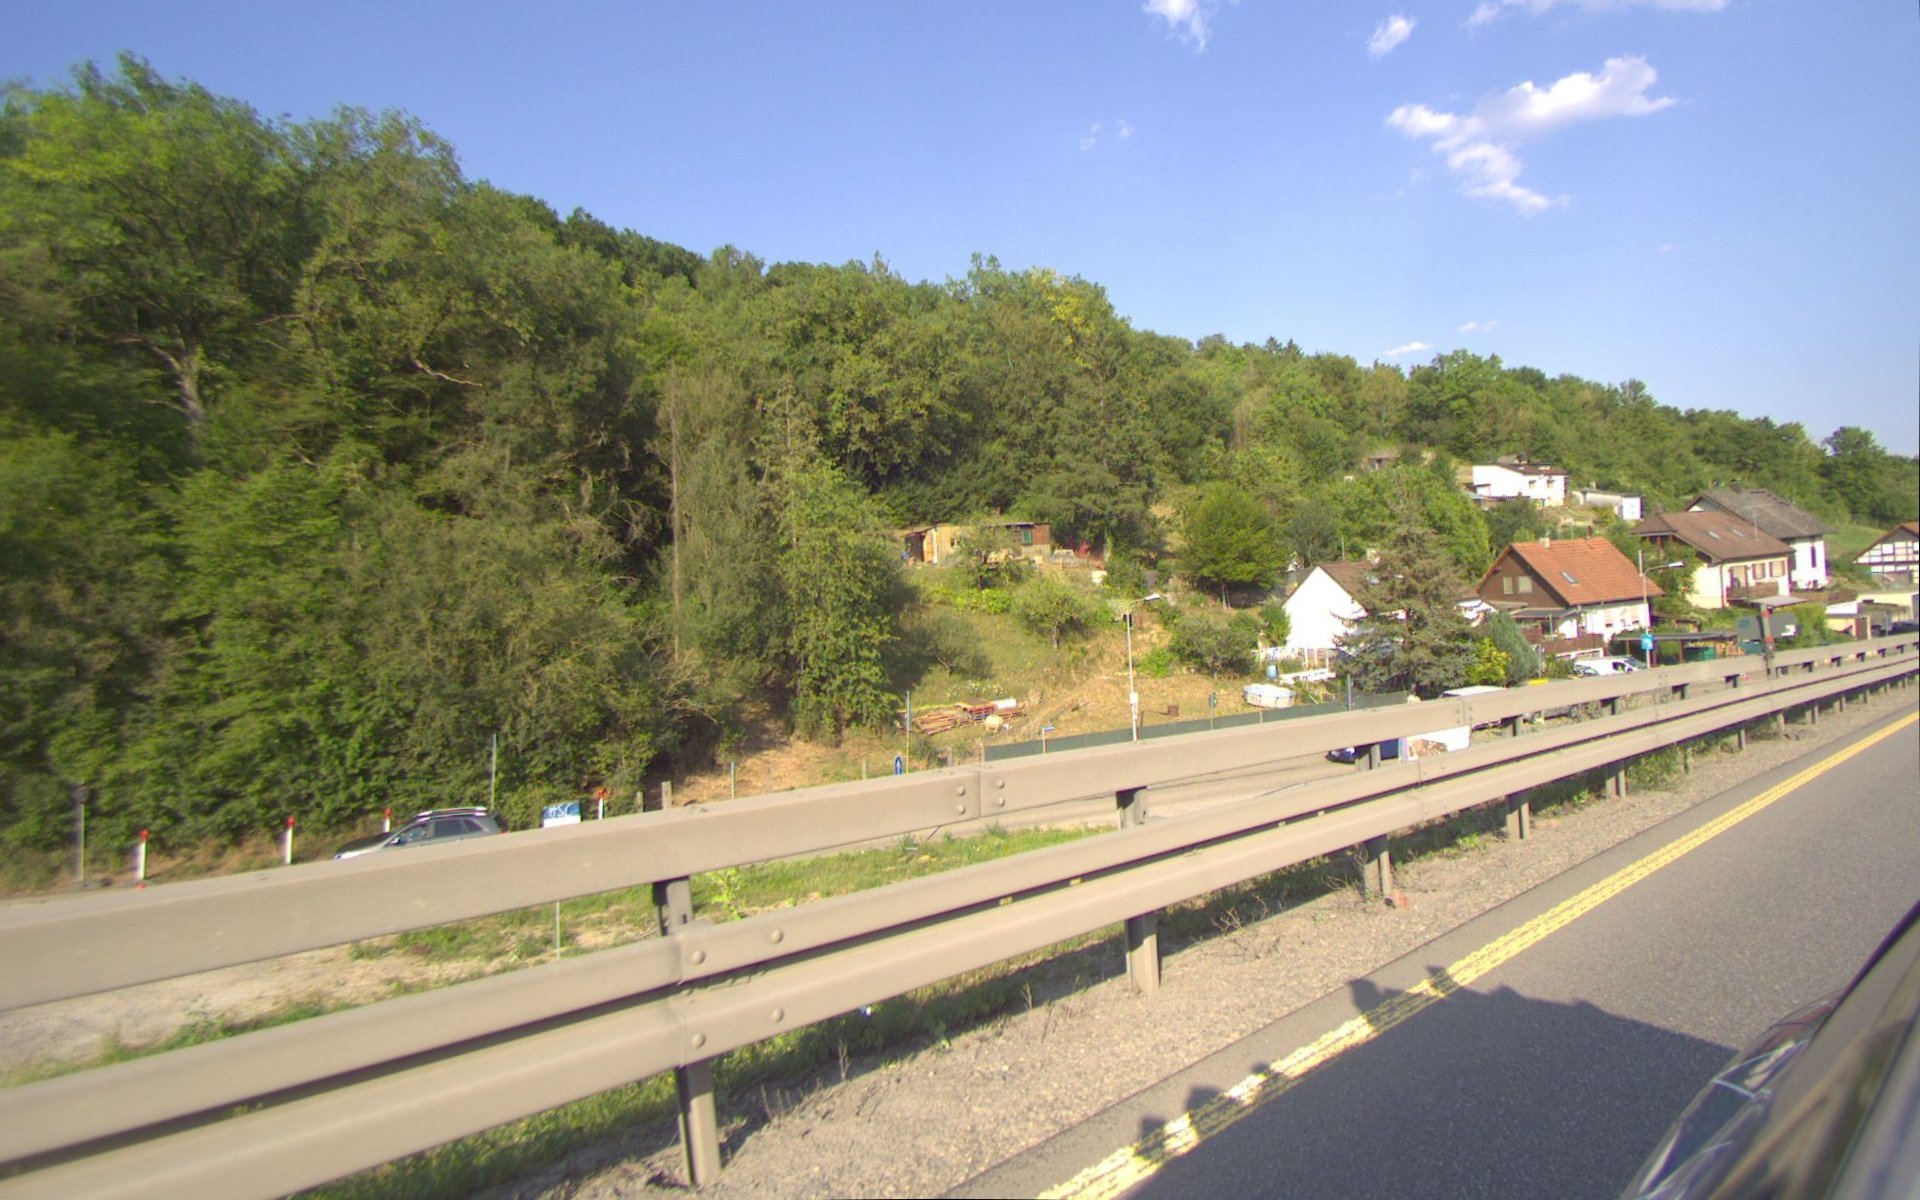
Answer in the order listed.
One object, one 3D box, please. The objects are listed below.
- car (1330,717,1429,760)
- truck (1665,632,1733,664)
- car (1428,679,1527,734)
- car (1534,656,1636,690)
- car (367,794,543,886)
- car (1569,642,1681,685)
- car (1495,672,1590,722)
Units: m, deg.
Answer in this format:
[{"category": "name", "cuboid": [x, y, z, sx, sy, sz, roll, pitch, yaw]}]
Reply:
[{"category": "car", "cuboid": [18.019, 5.929, 43.542, 3.541, 1.619, 1.776, 0, -3, -16]}, {"category": "truck", "cuboid": [49.801, 3.224, 68.334, 1.968, 1.760, 3.987, -7, -2, 10]}, {"category": "car", "cuboid": [25.458, 5.161, 49.737, 4.952, 2.010, 1.871, -3, 3, -29]}, {"category": "car", "cuboid": [38.130, 4.415, 61.868, 1.682, 1.576, 5.112, -2, 1, -30]}, {"category": "car", "cuboid": [-14.438, 6.841, 29.172, 4.405, 1.807, 1.872, 0, 0, -24]}, {"category": "car", "cuboid": [41.398, 3.883, 63.140, 1.960, 2.292, 5.489, -2, 1, -30]}, {"category": "car", "cuboid": [30.066, 4.939, 52.212, 4.766, 1.940, 2.005, -3, 2, -27]}]
